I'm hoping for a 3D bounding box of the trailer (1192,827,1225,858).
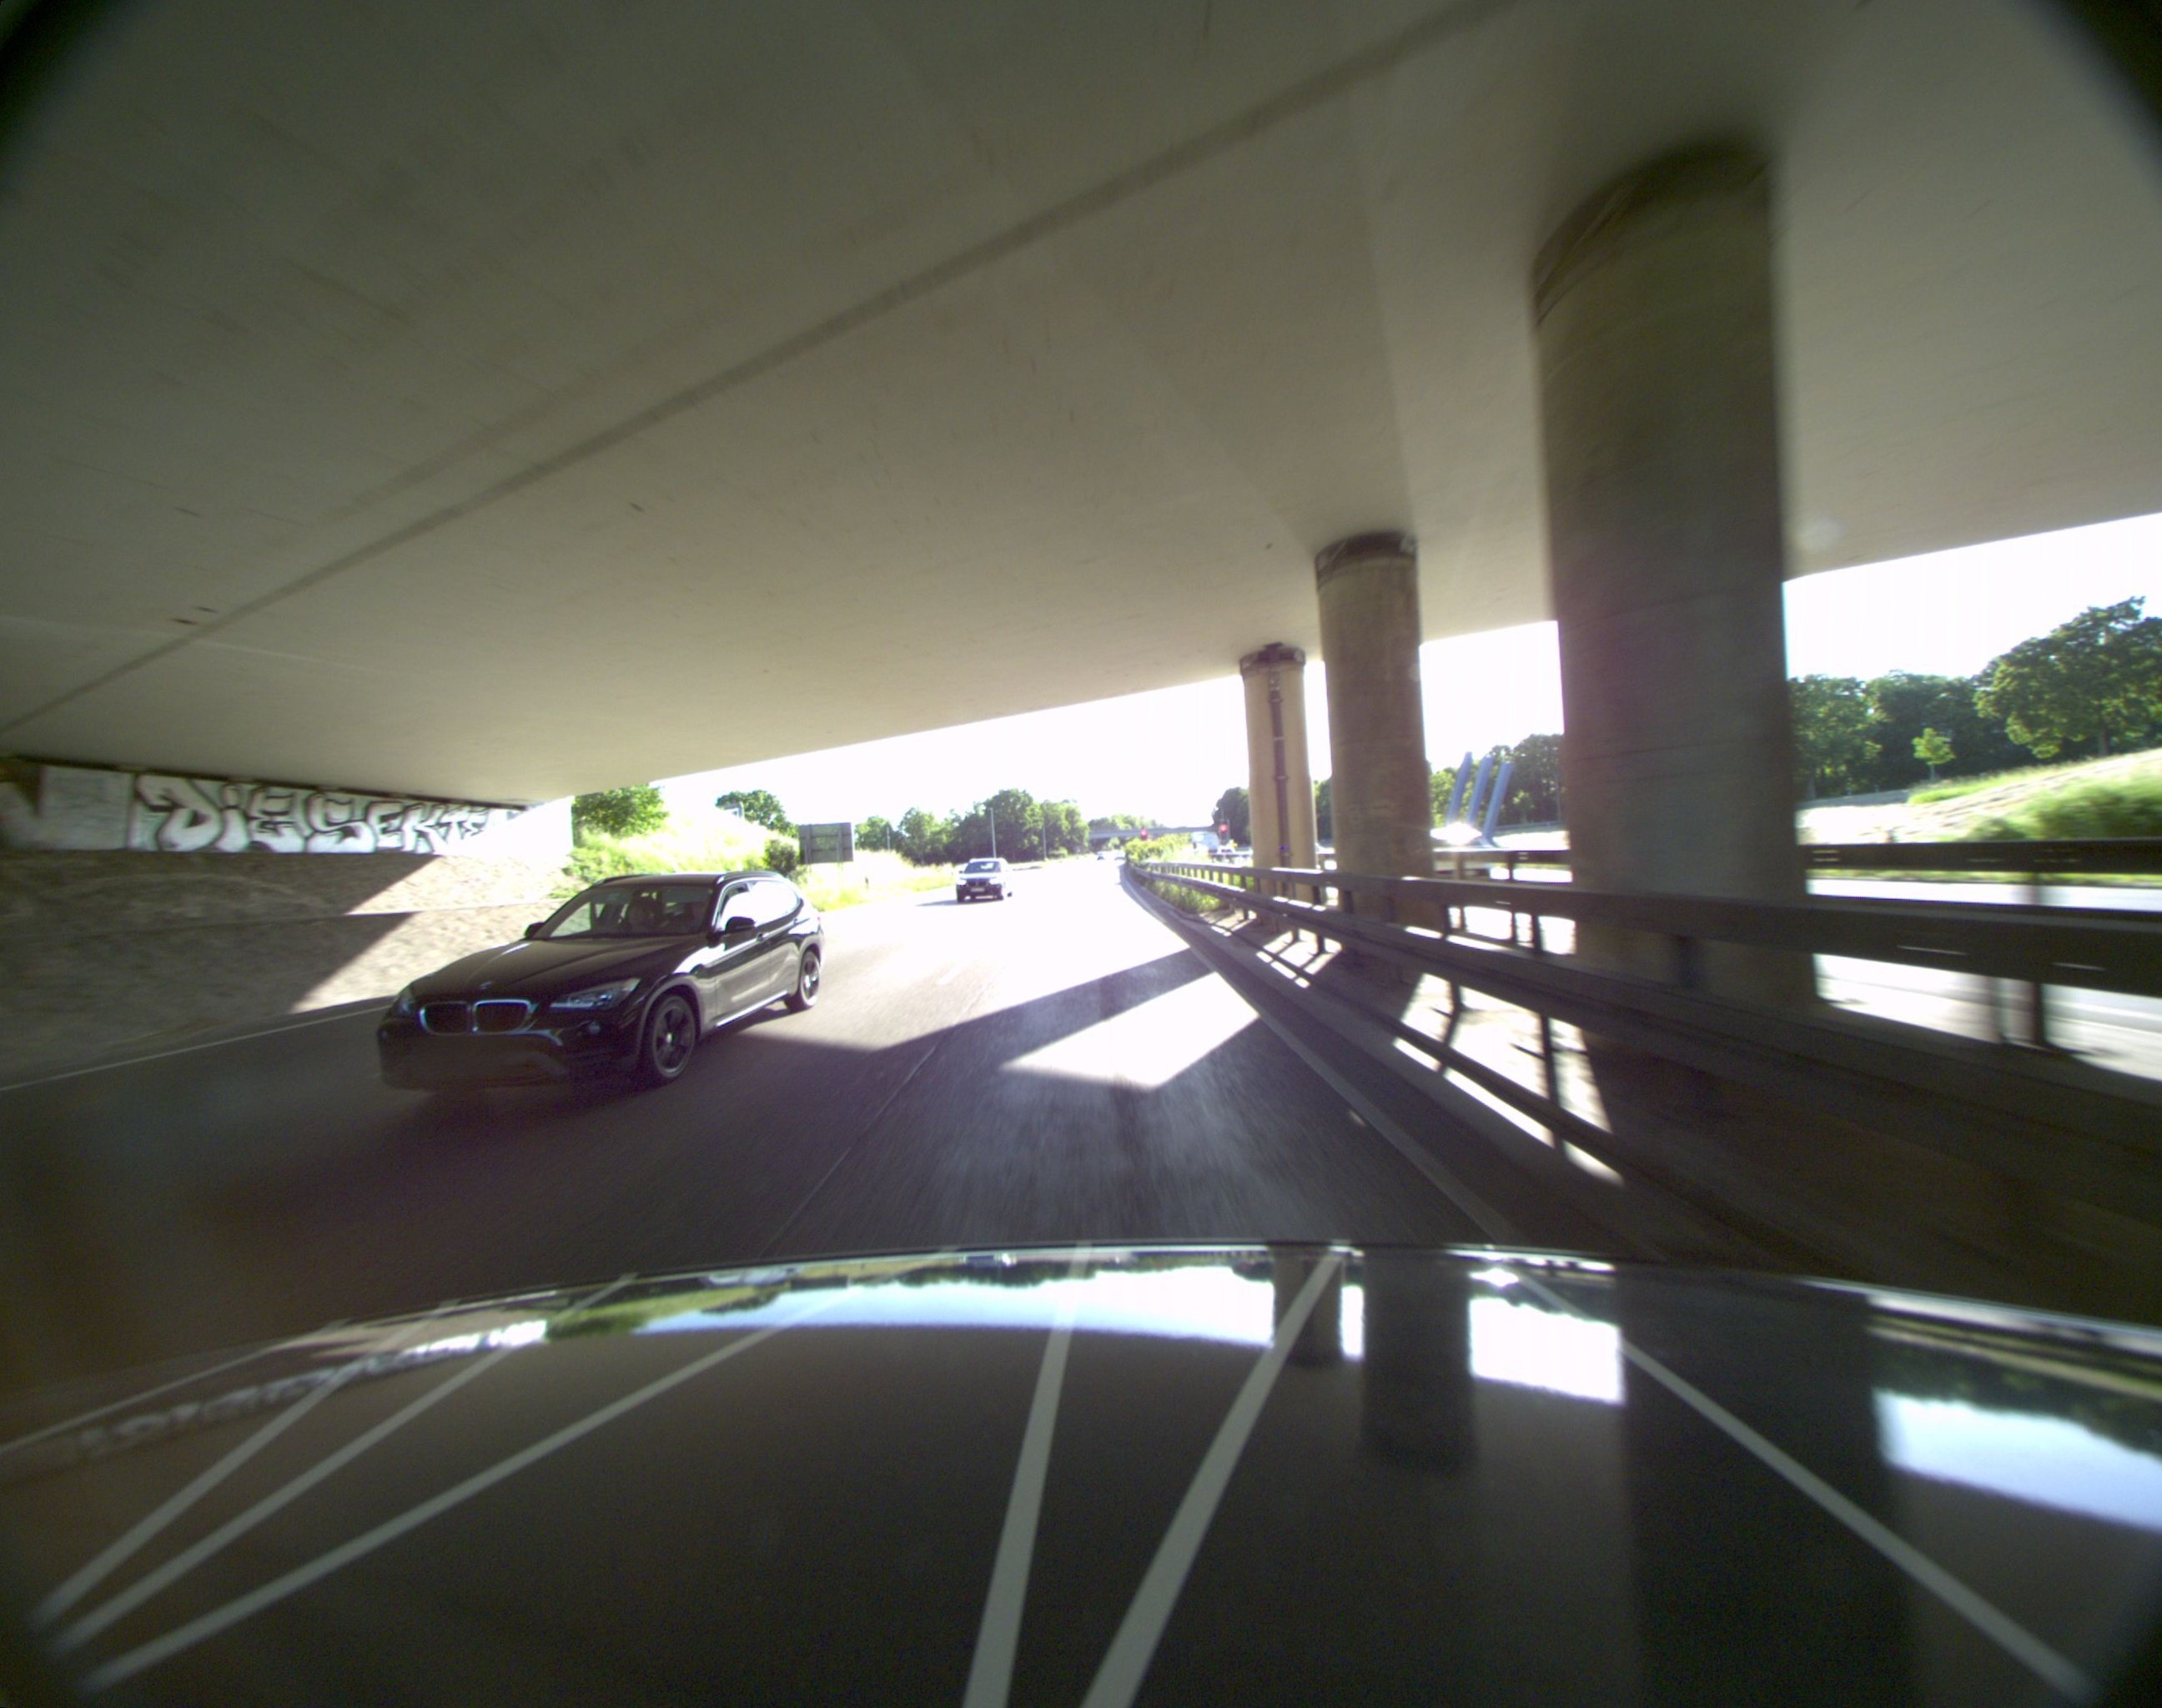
[{"bbox_3d":[16.679,-1.480,100.275,2.783,3.636,12.206,-3,0,3],"label":"trailer"}]

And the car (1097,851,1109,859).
[{"bbox_3d":[4.038,0.137,136.467,1.682,1.412,3.671,-3,0,8],"label":"car"}]

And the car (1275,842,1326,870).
[{"bbox_3d":[12.996,0.102,45.173,1.753,1.497,4.457,-3,0,1],"label":"car"}]

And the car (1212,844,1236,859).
[{"bbox_3d":[14.506,-0.256,77.095,1.765,1.435,4.110,-4,0,3],"label":"car"}]

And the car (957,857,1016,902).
[{"bbox_3d":[-3.728,0.974,30.656,1.760,1.564,4.520,-2,1,0],"label":"car"}]

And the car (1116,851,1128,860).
[{"bbox_3d":[7.062,0.186,130.021,1.725,1.412,3.671,-3,0,6],"label":"car"}]

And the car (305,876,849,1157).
[{"bbox_3d":[-3.770,1.063,6.908,1.703,1.497,4.579,-2,0,2],"label":"car"}]

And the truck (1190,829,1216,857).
[{"bbox_3d":[16.997,-1.506,106.224,2.783,3.636,5.324,-3,0,3],"label":"truck"}]

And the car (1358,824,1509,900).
[{"bbox_3d":[8.352,0.164,18.414,1.740,1.565,4.000,-3,0,0],"label":"car"}]
